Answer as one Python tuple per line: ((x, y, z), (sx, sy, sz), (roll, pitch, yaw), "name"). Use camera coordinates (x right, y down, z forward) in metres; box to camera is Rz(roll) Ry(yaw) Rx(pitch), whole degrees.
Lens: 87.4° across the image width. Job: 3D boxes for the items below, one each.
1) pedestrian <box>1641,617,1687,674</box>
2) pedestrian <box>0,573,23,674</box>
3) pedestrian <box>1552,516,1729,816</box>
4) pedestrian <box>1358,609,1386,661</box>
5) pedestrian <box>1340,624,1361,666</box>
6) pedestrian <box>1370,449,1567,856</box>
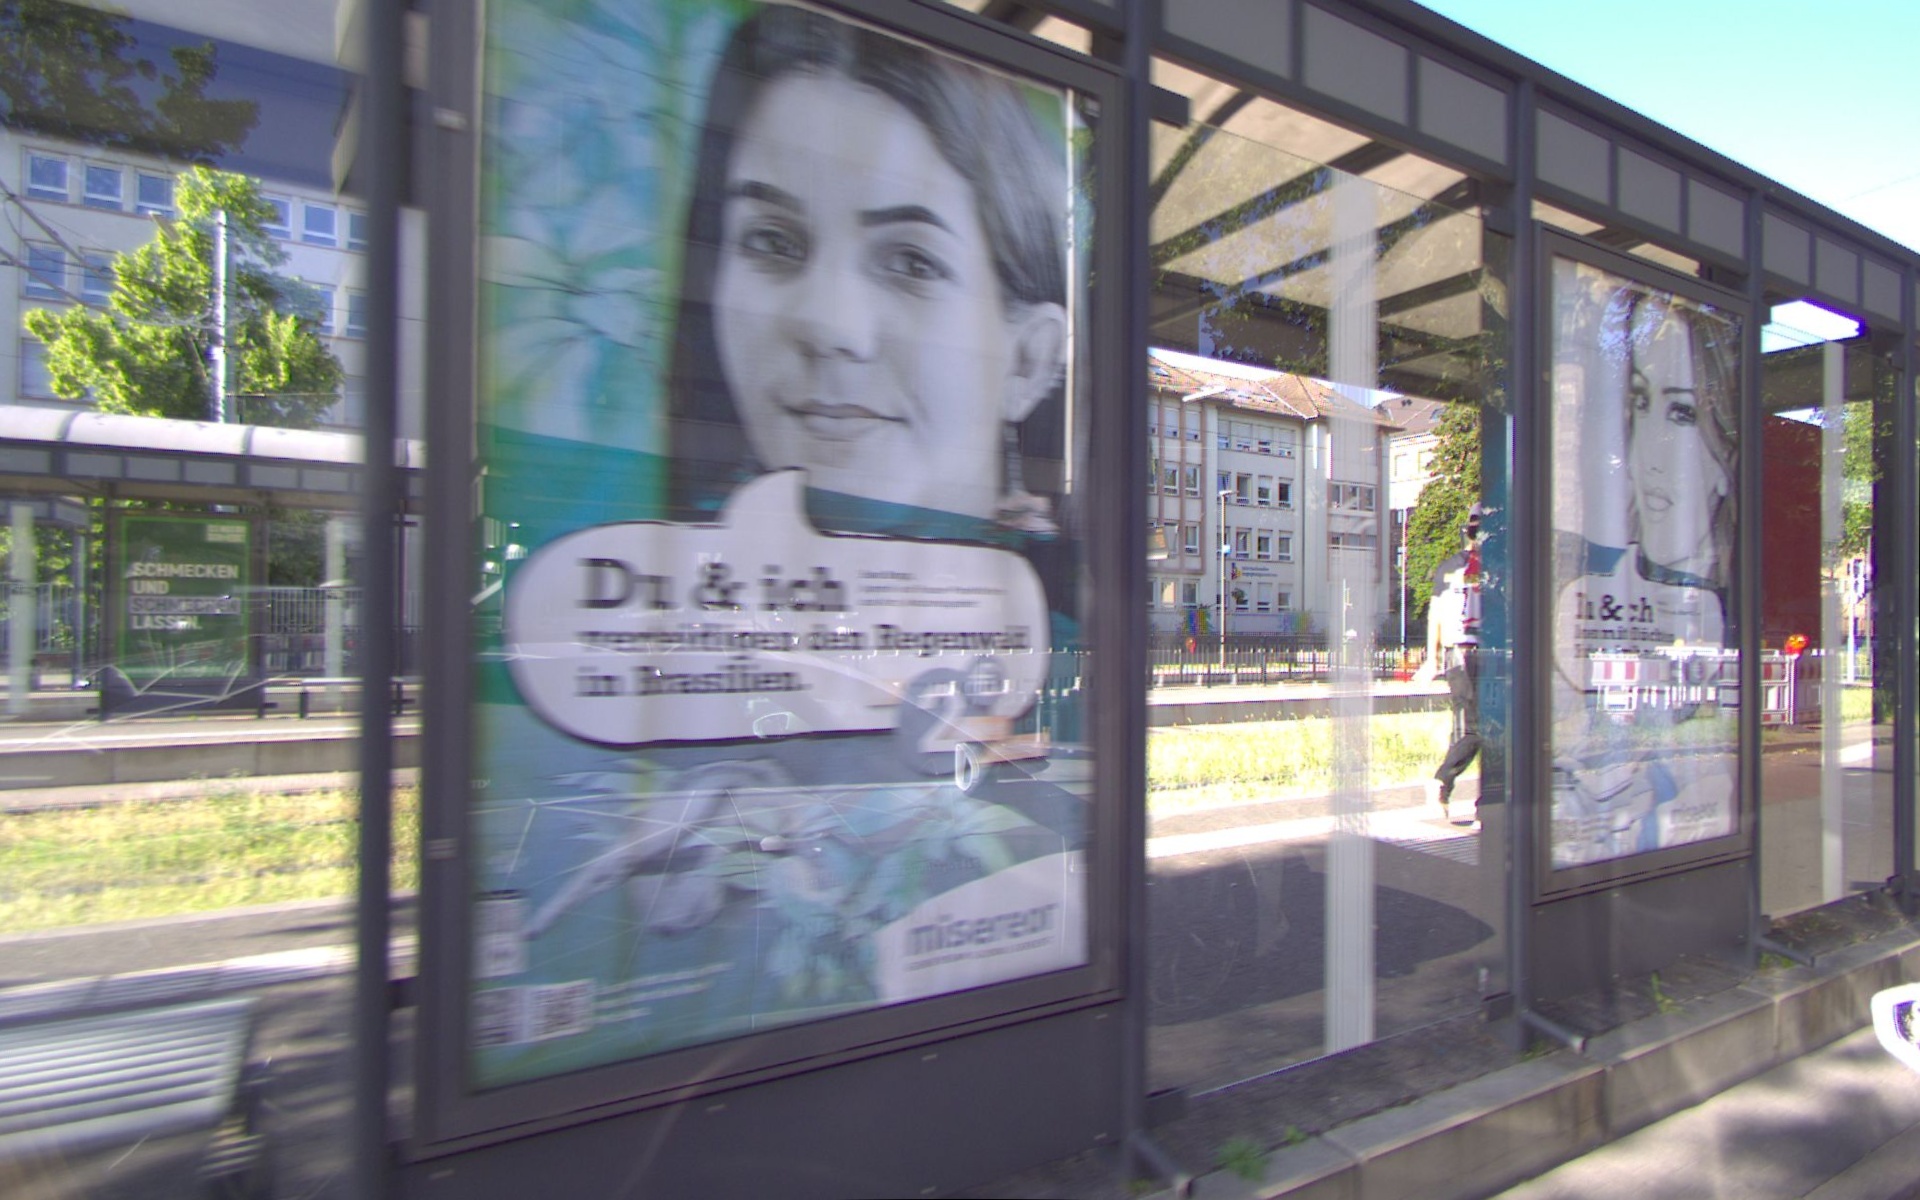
((22.074, 1.415, 31.500), (0.720, 1.759, 0.950), (1, -1, -27), "pedestrian")
((-13.764, 0.316, 13.963), (0.869, 1.394, 0.970), (1, 0, -30), "pedestrian")
((4.425, 0.406, 6.545), (0.745, 1.807, 0.679), (1, 0, -29), "pedestrian")
((16.552, 1.403, 40.378), (0.850, 2.040, 0.659), (1, -1, -30), "pedestrian")
((17.746, 2.025, 45.617), (0.566, 1.861, 0.689), (1, -1, -30), "pedestrian")
((2.776, 0.269, 5.510), (0.707, 2.040, 0.665), (1, 0, -28), "pedestrian")
